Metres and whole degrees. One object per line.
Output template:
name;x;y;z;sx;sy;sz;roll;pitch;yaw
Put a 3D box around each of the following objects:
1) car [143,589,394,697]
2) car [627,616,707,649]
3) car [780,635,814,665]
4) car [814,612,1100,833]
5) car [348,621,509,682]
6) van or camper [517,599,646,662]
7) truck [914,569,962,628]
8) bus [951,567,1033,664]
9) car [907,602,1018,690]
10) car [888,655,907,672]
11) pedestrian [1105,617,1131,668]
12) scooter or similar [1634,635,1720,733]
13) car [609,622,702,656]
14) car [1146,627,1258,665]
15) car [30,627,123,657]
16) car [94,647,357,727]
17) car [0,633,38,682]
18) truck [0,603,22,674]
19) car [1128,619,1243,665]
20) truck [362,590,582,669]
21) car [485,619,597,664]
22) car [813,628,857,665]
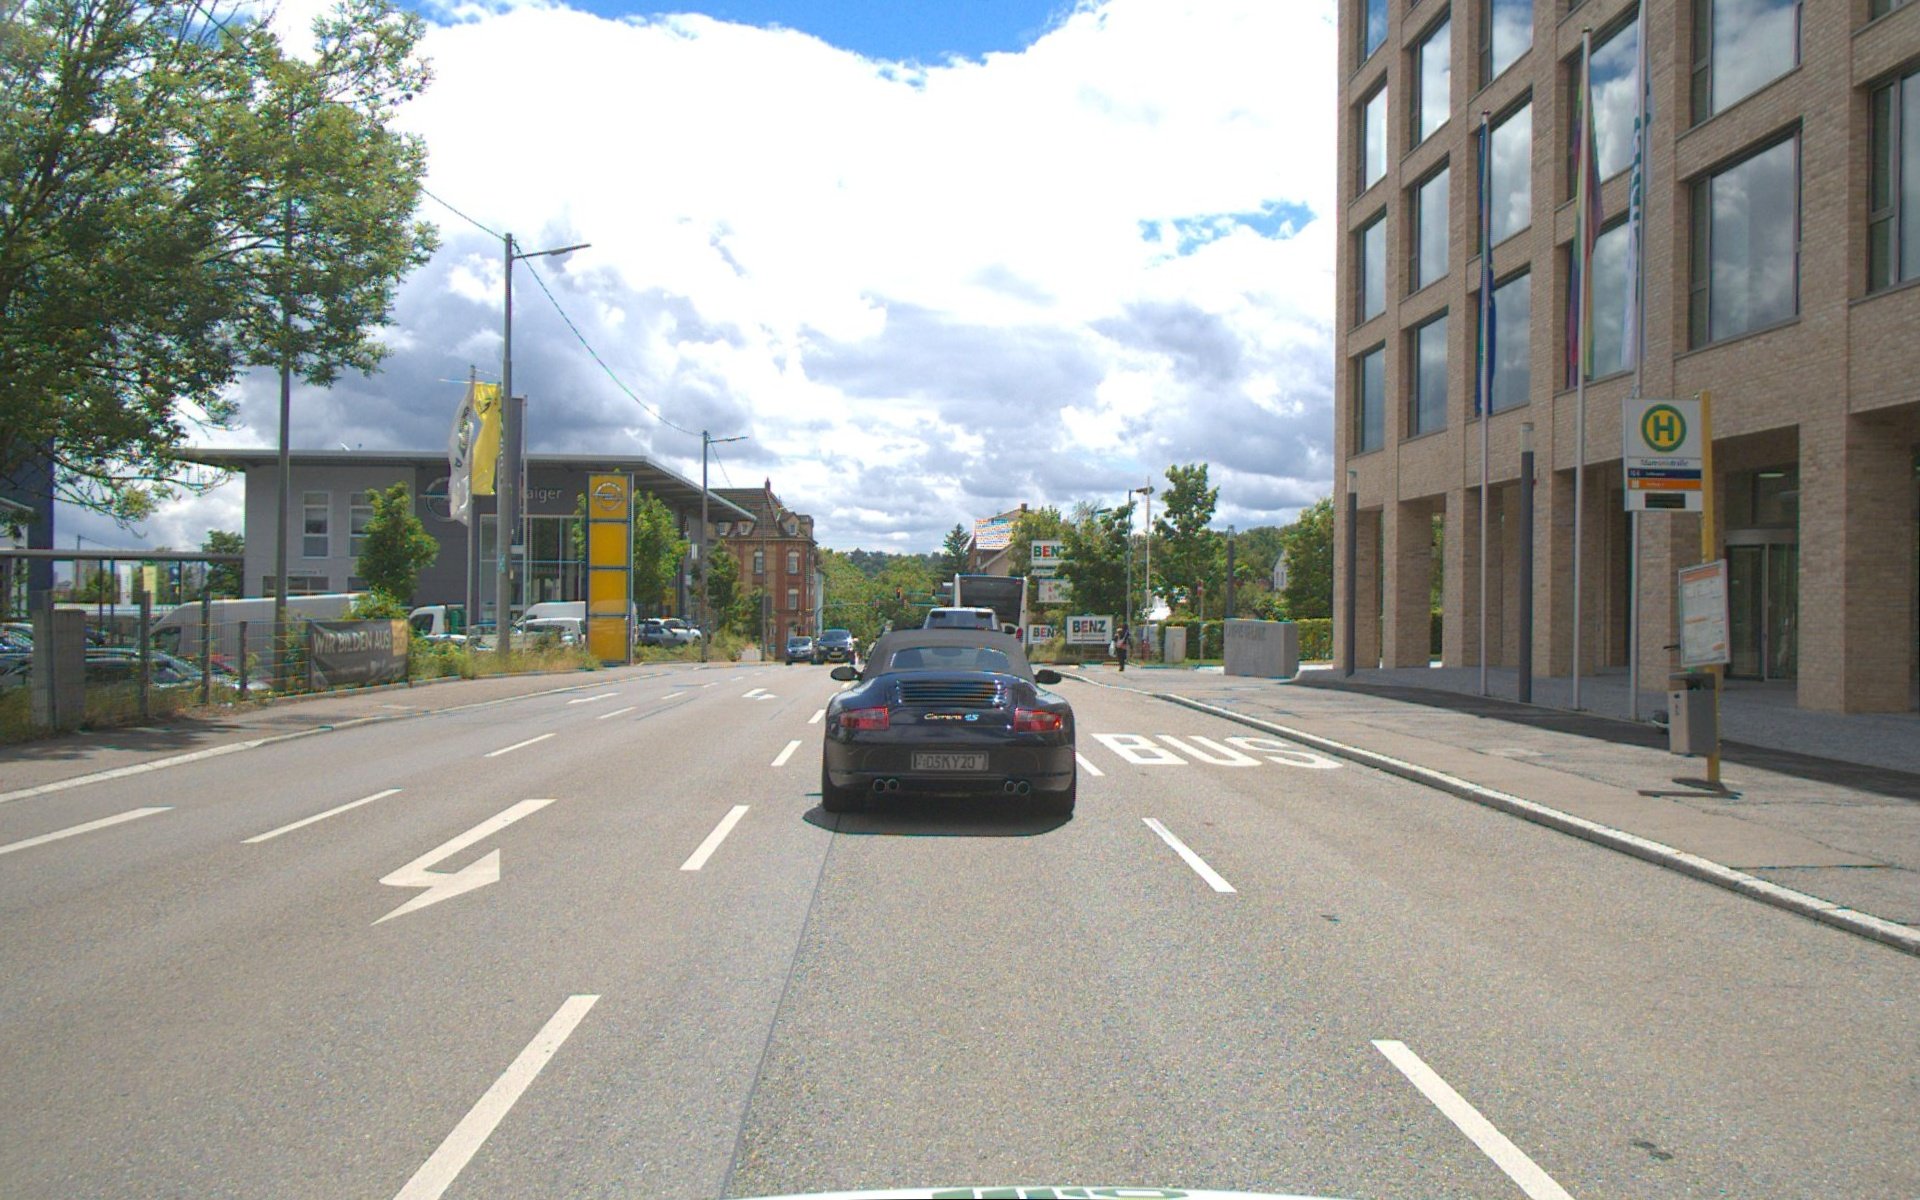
car;-13.617;0.822;32.797;4.078;2.049;2.197;1;0;-4
car;-14.685;1.653;83.165;1.891;1.600;4.553;-1;-2;21
car;-9.369;2.846;95.441;1.709;1.623;4.039;-2;-1;-3
car;-0.041;0.830;13.085;1.891;1.401;4.207;1;0;-1
car;-14.652;1.425;45.738;3.807;1.638;1.927;0;-2;-2
van or camper;-15.832;1.266;69.424;4.926;2.575;2.317;1;0;-3
truck;-1.371;0.004;98.811;2.613;3.163;9.029;-1;-2;-2
bus;1.059;0.496;61.870;2.745;3.254;12.194;0;0;0
car;-0.016;0.848;32.499;1.892;1.611;4.205;0;0;-4
car;-6.275;6.331;165.096;1.826;1.695;4.256;0;-2;-3
pedestrian;4.923;1.322;51.559;0.673;1.563;0.856;0;-1;-2
scooter or similar;8.958;1.033;20.710;0.418;1.173;1.403;0;-1;-2
car;-14.320;1.829;78.074;1.857;1.476;4.828;1;0;26
car;10.229;1.943;70.124;4.343;1.508;1.999;-1;-2;-3
car;-39.346;1.858;73.733;3.416;1.306;1.653;0;0;-20
car;-13.455;1.587;30.493;3.953;1.411;1.927;1;-2;-4
car;-30.969;1.764;51.083;4.174;1.523;1.913;1;-2;-25
truck;-33.727;1.255;52.800;6.206;2.268;2.683;0;-2;-23
car;9.926;1.859;72.945;4.621;1.881;2.084;-1;-2;-10
truck;-14.176;0.879;48.383;5.746;2.185;2.474;0;-2;-5
car;-16.888;1.660;66.781;3.903;1.736;2.001;1;0;3
car;-5.385;2.011;71.499;1.793;1.535;4.273;0;-2;-3
